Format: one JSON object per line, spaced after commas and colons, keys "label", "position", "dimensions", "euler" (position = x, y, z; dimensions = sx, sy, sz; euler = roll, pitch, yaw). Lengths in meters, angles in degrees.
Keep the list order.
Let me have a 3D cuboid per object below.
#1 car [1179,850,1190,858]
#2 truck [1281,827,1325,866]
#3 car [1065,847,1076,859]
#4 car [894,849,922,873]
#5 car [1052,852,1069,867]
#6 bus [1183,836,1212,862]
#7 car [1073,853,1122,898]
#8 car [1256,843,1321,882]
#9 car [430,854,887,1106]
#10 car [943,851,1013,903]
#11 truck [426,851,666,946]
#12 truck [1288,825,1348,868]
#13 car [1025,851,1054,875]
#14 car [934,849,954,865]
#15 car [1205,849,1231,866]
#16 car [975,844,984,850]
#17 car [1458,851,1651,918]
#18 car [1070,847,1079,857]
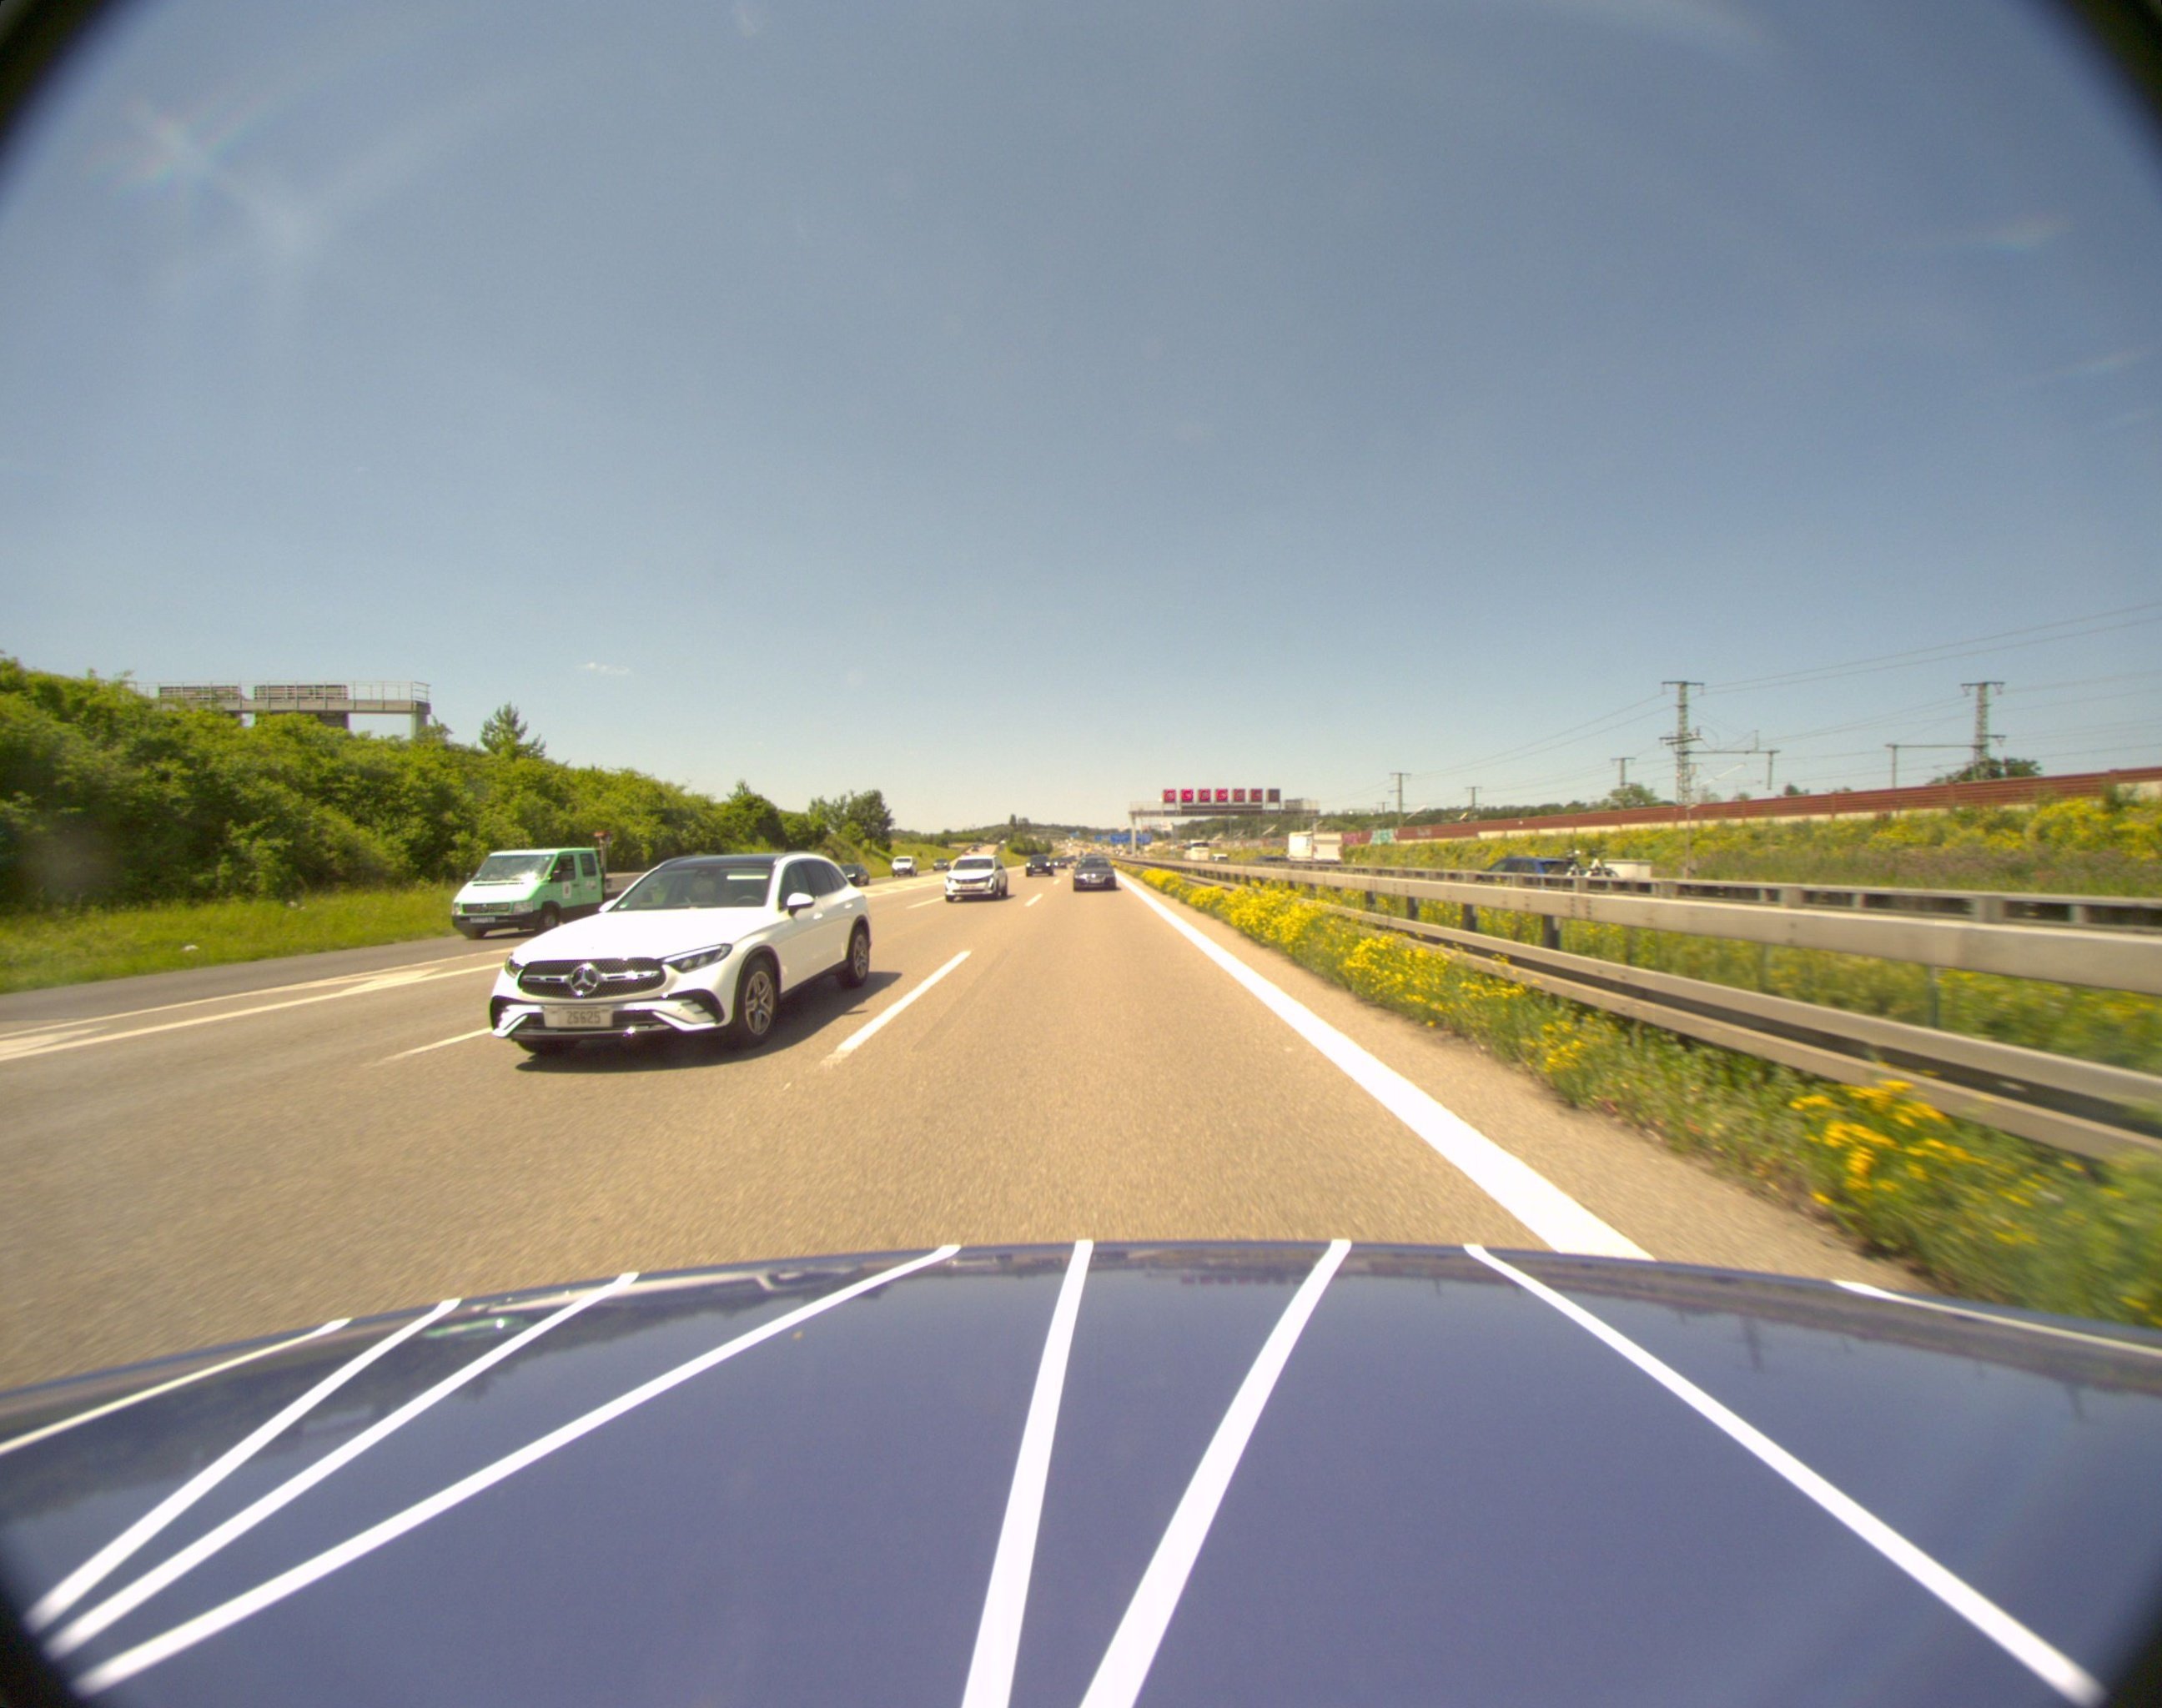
{"label": "car", "position": [21.037, 0.010, 154.549], "dimensions": [1.696, 1.465, 4.000], "euler": [1, 0, 1]}
{"label": "truck", "position": [20.846, -0.670, 71.632], "dimensions": [2.855, 3.446, 4.023], "euler": [-3, 0, 1]}
{"label": "car", "position": [-1.868, -0.197, 136.040], "dimensions": [1.999, 2.002, 3.999], "euler": [-2, 1, 0]}
{"label": "car", "position": [-16.649, 0.676, 73.371], "dimensions": [2.000, 2.159, 4.890], "euler": [-1, 0, -7]}
{"label": "car", "position": [-2.311, 0.582, 84.606], "dimensions": [1.752, 1.462, 3.998], "euler": [-2, 2, -2]}
{"label": "bus", "position": [17.824, -0.743, 117.032], "dimensions": [2.864, 3.624, 10.940], "euler": [-3, 0, 1]}
{"label": "car", "position": [0.610, 0.791, 29.995], "dimensions": [1.752, 1.462, 3.998], "euler": [-2, 2, 0]}
{"label": "car", "position": [9.727, 0.363, 35.904], "dimensions": [1.998, 1.710, 4.000], "euler": [-1, 0, 1]}
{"label": "car", "position": [-3.583, 0.897, 7.702], "dimensions": [1.909, 1.646, 4.635], "euler": [-2, 1, 1]}
{"label": "car", "position": [-3.734, 0.789, 28.268], "dimensions": [1.898, 1.620, 4.616], "euler": [-2, 1, 0]}
{"label": "truck", "position": [-13.667, 0.988, 20.108], "dimensions": [2.170, 2.080, 6.116], "euler": [-1, 1, -2]}
{"label": "truck", "position": [20.757, -0.648, 67.089], "dimensions": [2.864, 3.446, 7.780], "euler": [-3, 0, 1]}
{"label": "car", "position": [-3.143, 0.653, 57.985], "dimensions": [1.983, 1.620, 4.615], "euler": [-2, 1, -1]}
{"label": "car", "position": [-18.587, 0.402, 103.329], "dimensions": [1.999, 2.002, 3.998], "euler": [-3, 2, -3]}
{"label": "car", "position": [13.822, 0.328, 76.683], "dimensions": [1.925, 1.601, 4.000], "euler": [1, 0, 1]}
{"label": "car", "position": [-28.860, -1.953, 215.437], "dimensions": [1.983, 1.620, 4.615], "euler": [-2, 1, -1]}
{"label": "car", "position": [12.752, 0.725, 21.010], "dimensions": [1.925, 1.601, 5.395], "euler": [1, 0, 0]}
{"label": "car", "position": [-1.408, -0.490, 171.673], "dimensions": [1.999, 2.002, 3.999], "euler": [-2, 1, 0]}
